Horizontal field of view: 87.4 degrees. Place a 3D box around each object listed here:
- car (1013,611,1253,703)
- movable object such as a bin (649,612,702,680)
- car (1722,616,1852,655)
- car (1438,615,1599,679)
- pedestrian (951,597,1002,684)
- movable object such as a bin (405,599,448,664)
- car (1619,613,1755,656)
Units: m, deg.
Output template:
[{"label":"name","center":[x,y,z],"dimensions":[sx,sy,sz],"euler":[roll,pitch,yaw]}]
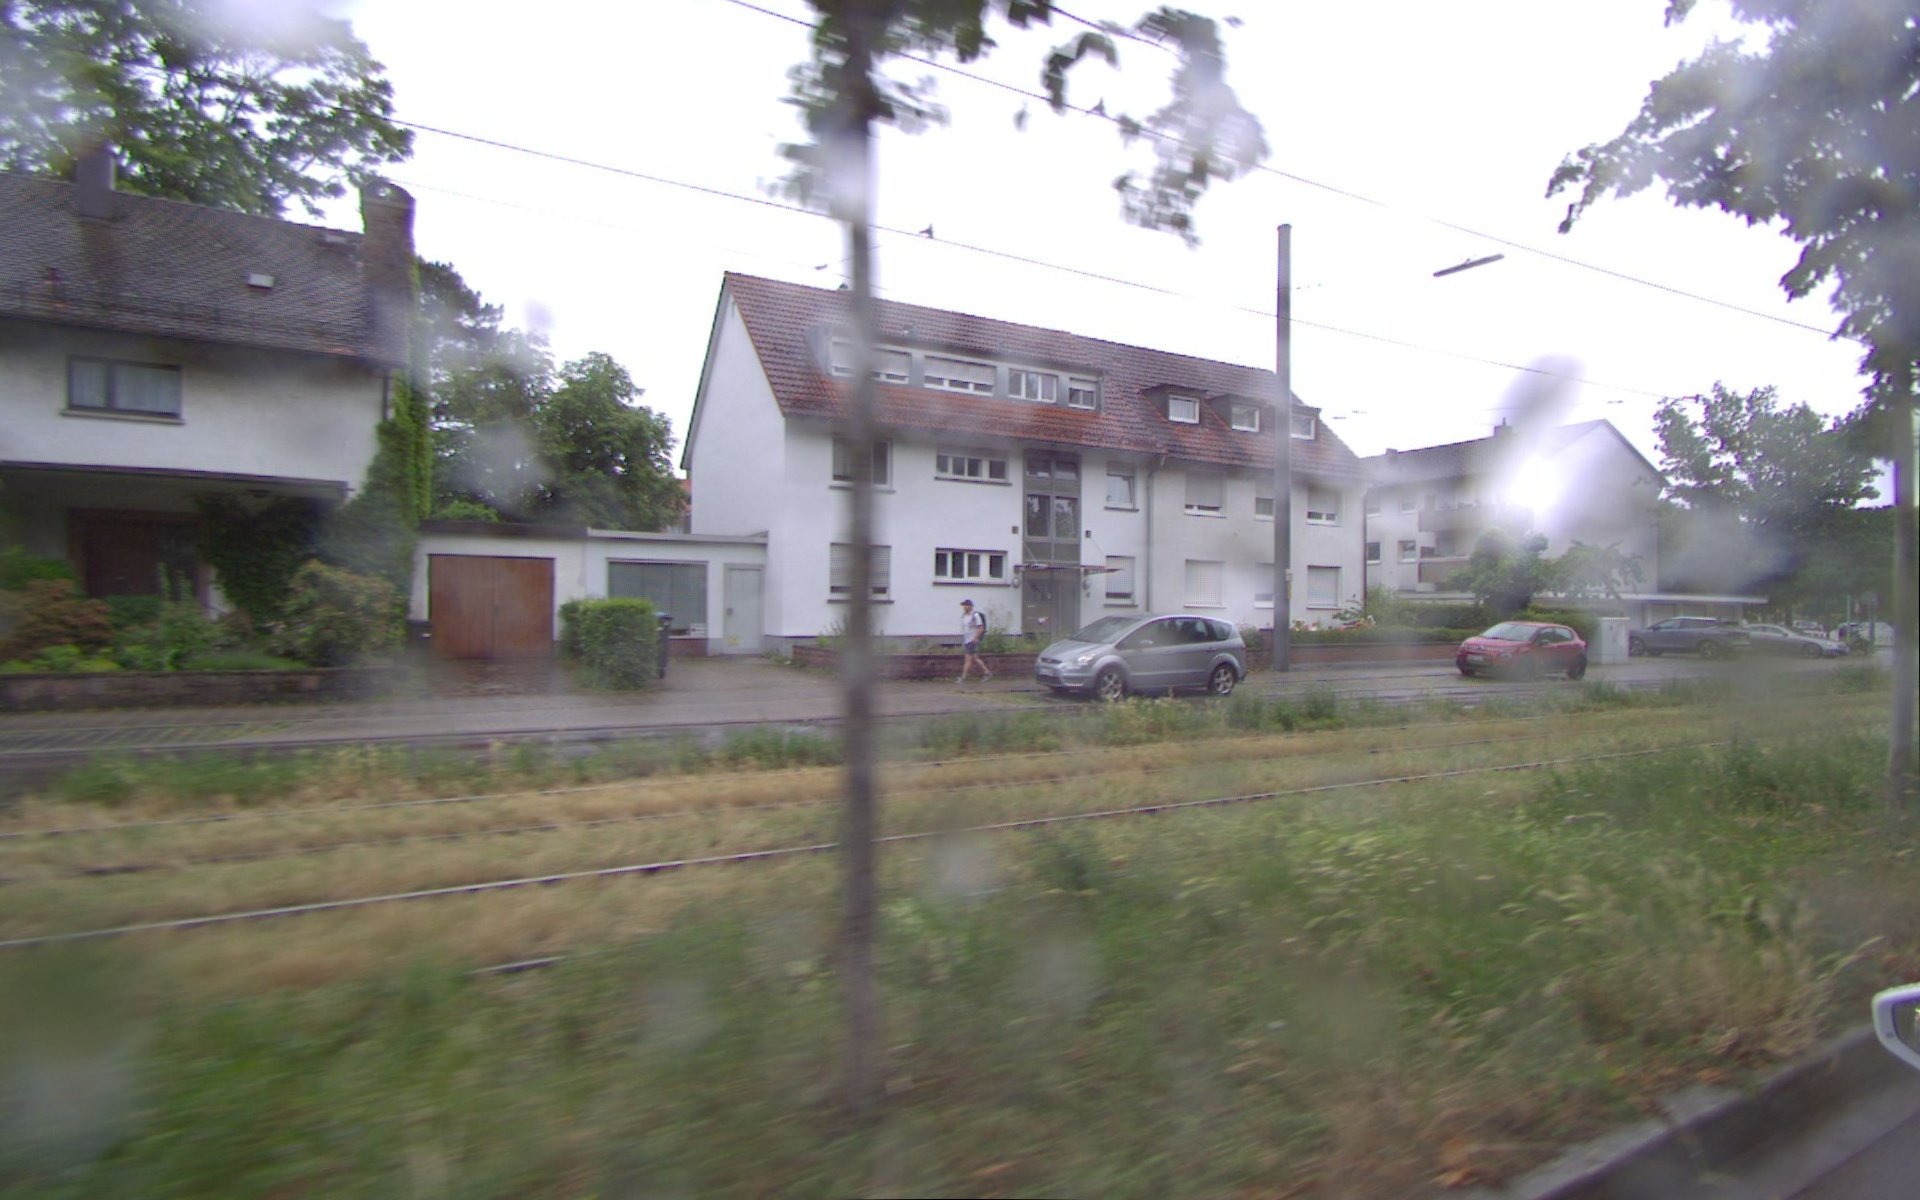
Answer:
[{"label":"car","center":[3.483,1.060,20.078],"dimensions":[4.460,1.602,1.985],"euler":[1,1,-29]},{"label":"movable object such as a bin","center":[-5.781,0.917,20.398],"dimensions":[0.842,1.312,0.837],"euler":[1,1,-30]},{"label":"car","center":[36.023,1.512,43.845],"dimensions":[1.978,1.638,3.965],"euler":[1,-1,-32]},{"label":"car","center":[15.091,1.206,27.101],"dimensions":[4.157,1.508,1.983],"euler":[0,2,-31]},{"label":"pedestrian","center":[0.353,0.845,21.210],"dimensions":[0.844,1.778,0.698],"euler":[1,-1,-30]},{"label":"movable object such as a bin","center":[-11.296,0.665,21.262],"dimensions":[0.762,1.312,0.806],"euler":[1,1,-30]},{"label":"car","center":[28.882,1.341,40.000],"dimensions":[1.978,1.638,3.965],"euler":[1,-1,-32]}]
